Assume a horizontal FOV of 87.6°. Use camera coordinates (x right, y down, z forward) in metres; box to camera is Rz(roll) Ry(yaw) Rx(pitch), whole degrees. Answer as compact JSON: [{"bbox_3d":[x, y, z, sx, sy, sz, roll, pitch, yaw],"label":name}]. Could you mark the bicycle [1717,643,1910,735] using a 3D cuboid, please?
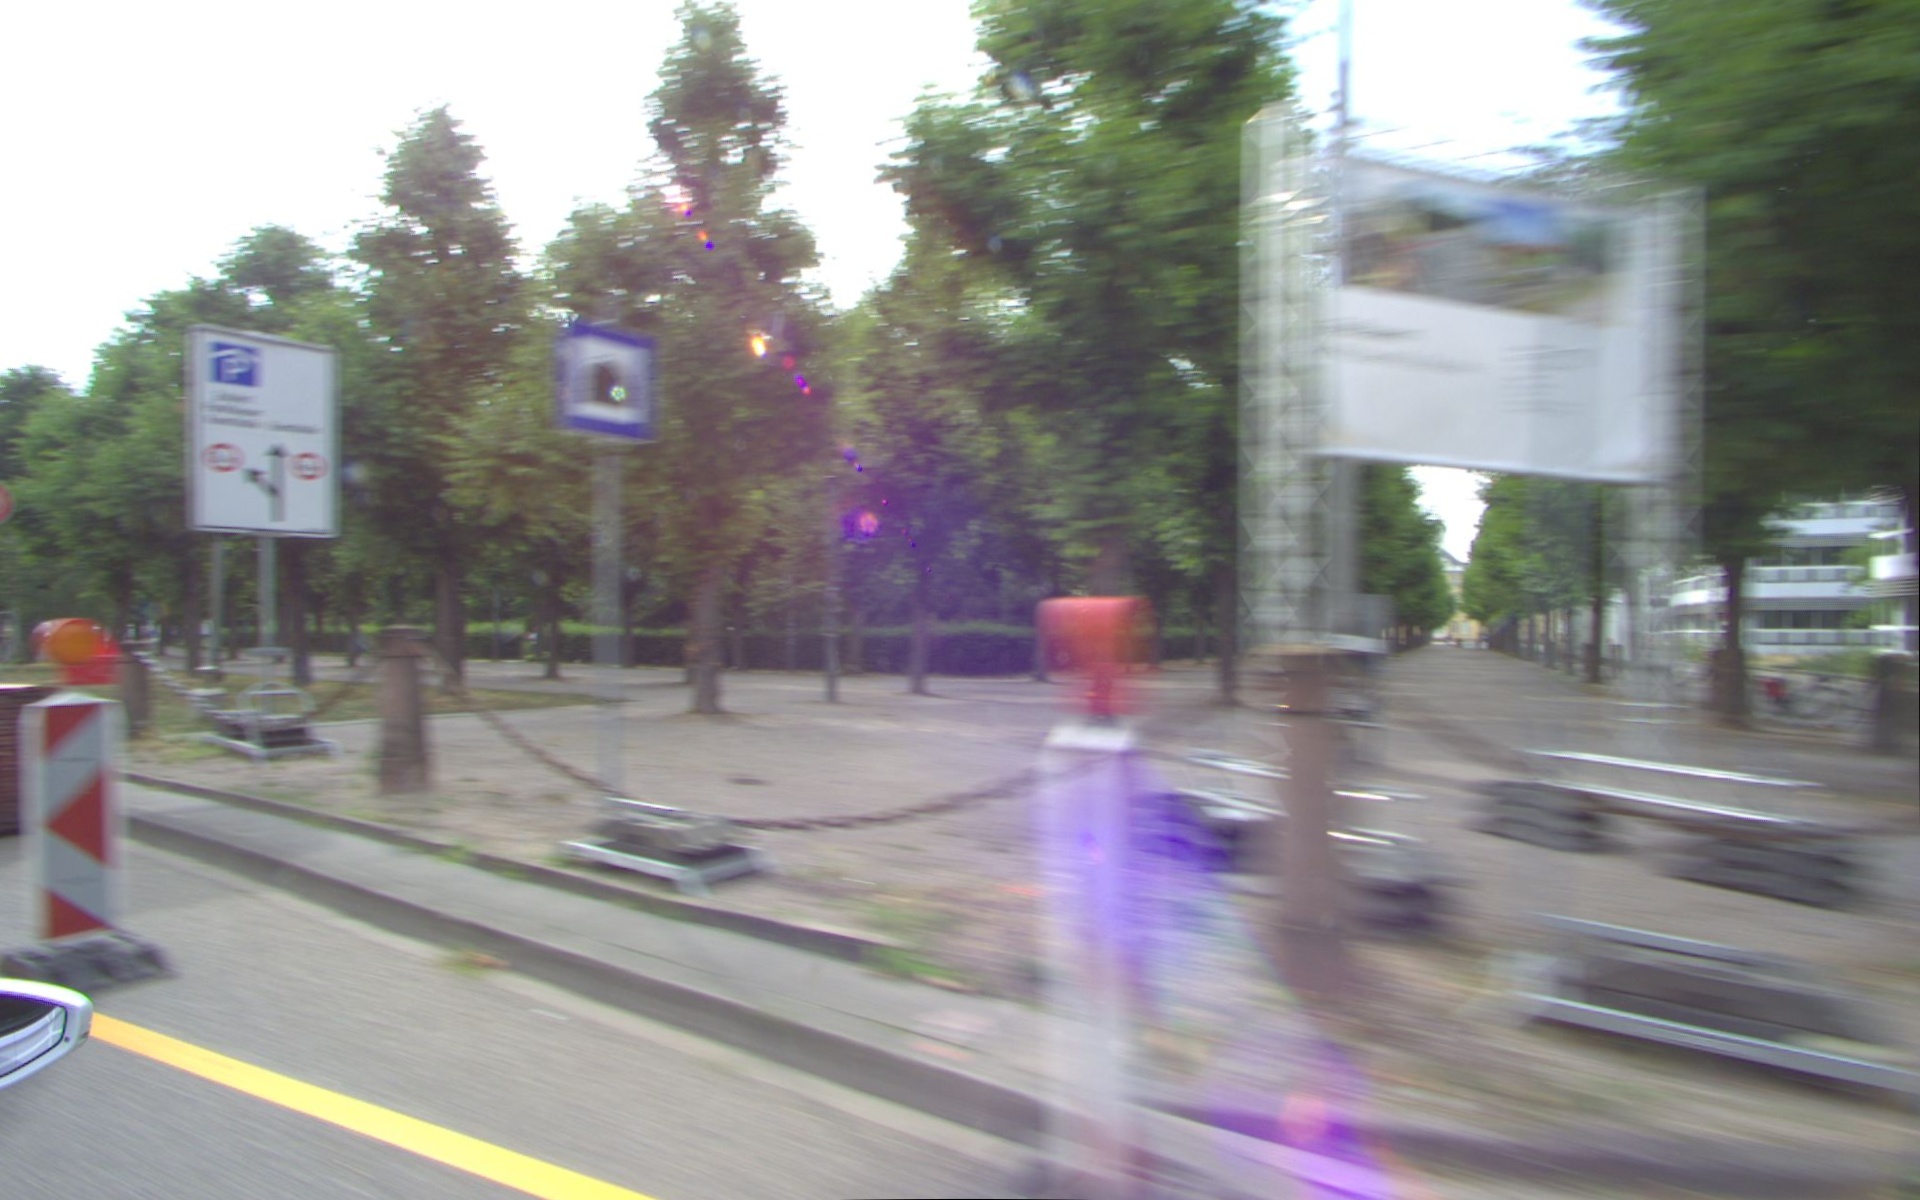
[{"bbox_3d":[12.458,1.248,14.767,0.937,1.124,2.579,2,0,9],"label":"bicycle"}]
